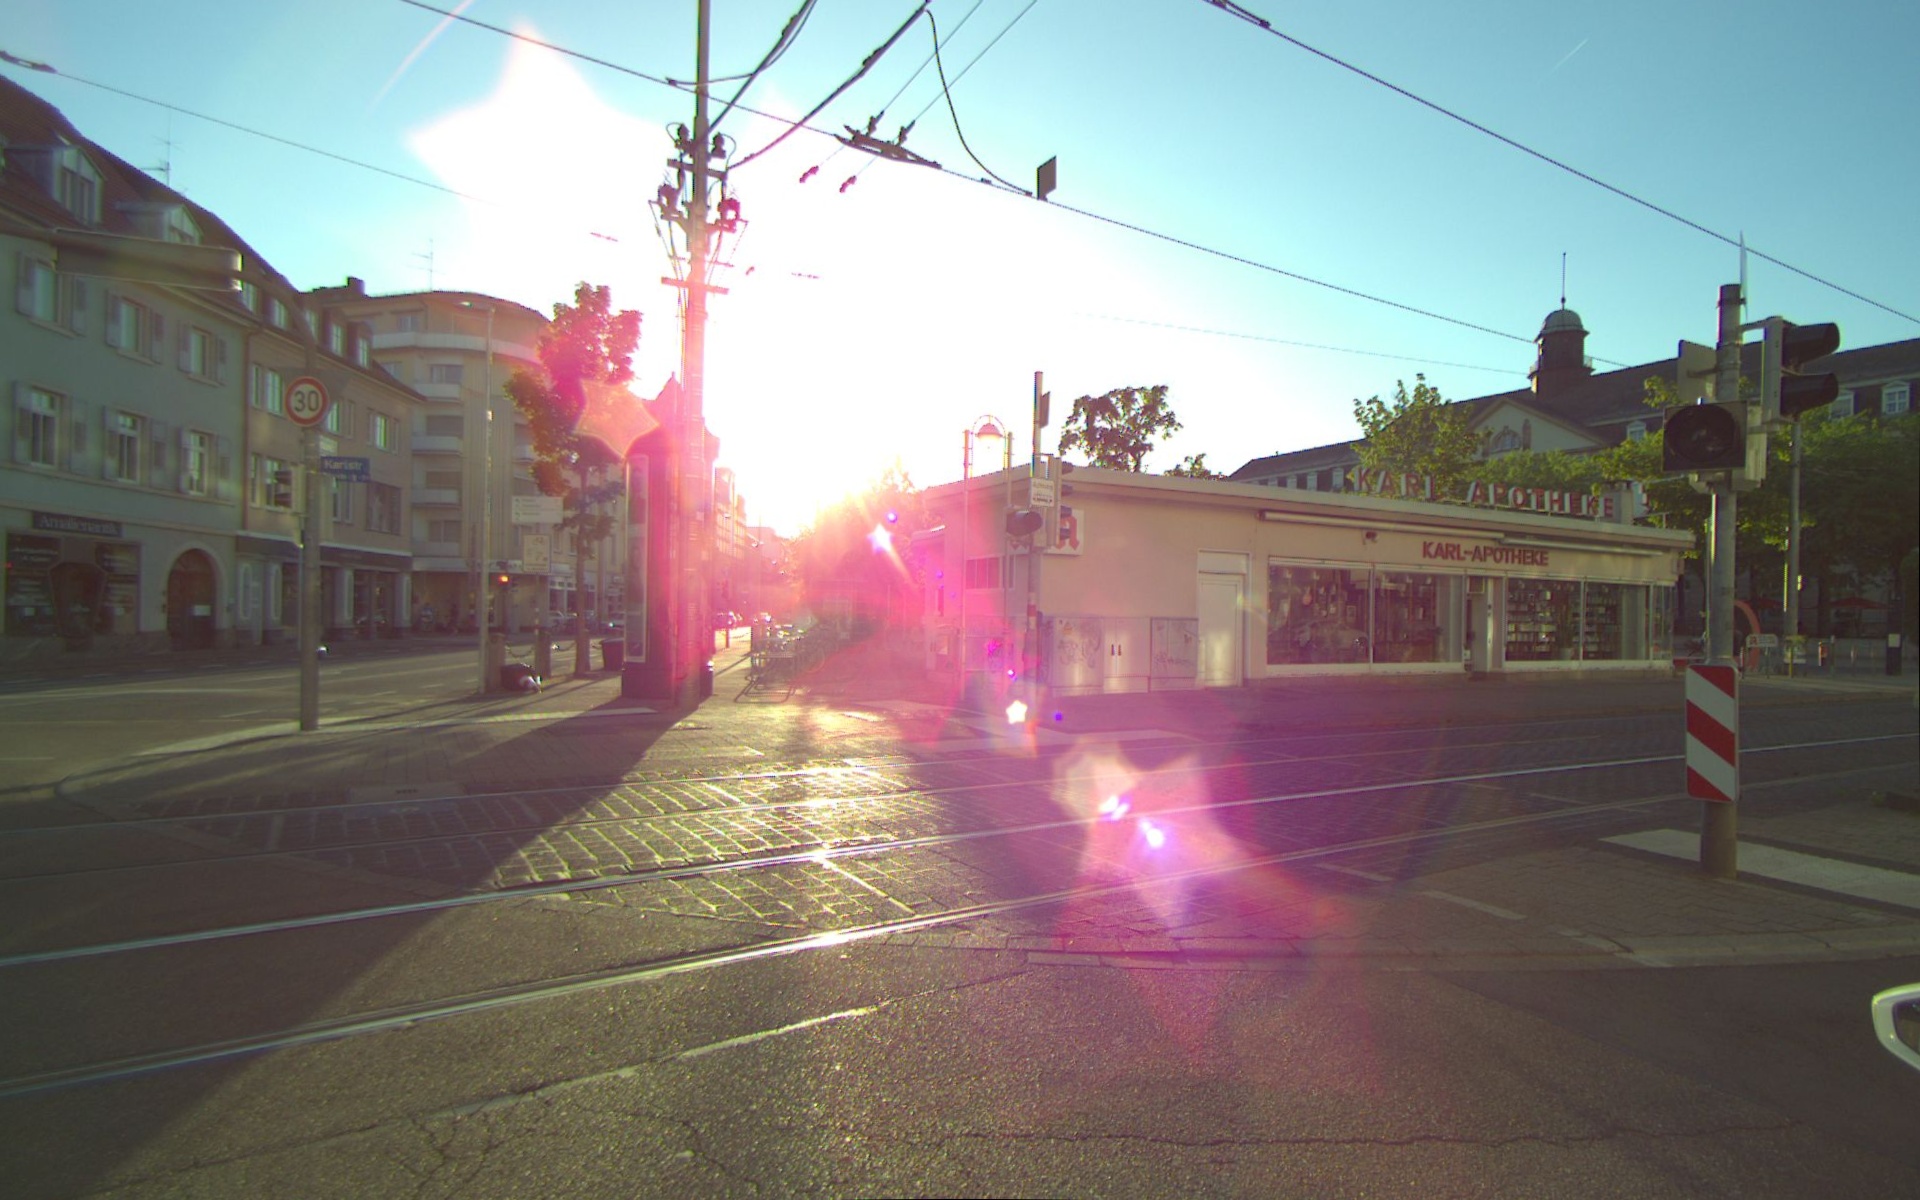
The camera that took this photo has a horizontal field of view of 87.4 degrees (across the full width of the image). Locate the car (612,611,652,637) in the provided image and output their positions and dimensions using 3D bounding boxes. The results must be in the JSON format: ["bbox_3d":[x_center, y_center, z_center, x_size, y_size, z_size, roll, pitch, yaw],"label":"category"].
[{"bbox_3d":[-19.604,1.470,60.136,1.520,1.487,3.350,1,-2,-5],"label":"car"}]

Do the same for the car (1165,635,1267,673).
[{"bbox_3d":[12.011,2.528,47.102,4.623,1.586,1.791,3,-2,-28],"label":"car"}]

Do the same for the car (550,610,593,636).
[{"bbox_3d":[-23.368,1.394,60.443,1.520,1.503,3.350,0,-1,-5],"label":"car"}]

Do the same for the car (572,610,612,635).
[{"bbox_3d":[-23.454,1.460,64.088,1.520,1.488,3.350,1,-2,-5],"label":"car"}]

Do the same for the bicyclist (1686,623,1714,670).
[{"bbox_3d":[27.514,1.735,37.355,0.691,1.690,0.628,2,-2,21],"label":"bicyclist"}]

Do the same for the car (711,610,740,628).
[{"bbox_3d":[-22.527,1.849,96.479,1.961,1.706,3.999,1,-1,-2],"label":"car"}]

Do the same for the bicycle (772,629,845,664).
[{"bbox_3d":[-4.510,1.377,29.943,2.043,0.995,0.560,1,-2,4],"label":"bicycle"}]

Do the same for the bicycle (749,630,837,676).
[{"bbox_3d":[-3.993,1.257,24.101,1.986,1.058,0.560,1,-2,4],"label":"bicycle"}]

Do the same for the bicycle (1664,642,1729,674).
[{"bbox_3d":[27.407,2.148,37.404,1.899,1.126,0.460,1,-2,22],"label":"bicycle"}]

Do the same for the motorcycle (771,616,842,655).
[{"bbox_3d":[-5.011,1.160,32.944,2.197,1.217,0.720,1,-1,1],"label":"motorcycle"}]

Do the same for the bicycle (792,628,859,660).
[{"bbox_3d":[-4.196,1.375,31.439,2.004,0.989,0.560,1,-2,4],"label":"bicycle"}]

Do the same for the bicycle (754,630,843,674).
[{"bbox_3d":[-4.052,1.293,25.256,2.110,1.057,0.560,1,-2,4],"label":"bicycle"}]

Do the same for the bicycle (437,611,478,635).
[{"bbox_3d":[-27.587,1.266,55.154,2.081,1.219,0.501,2,-2,12],"label":"bicycle"}]

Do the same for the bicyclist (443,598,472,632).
[{"bbox_3d":[-27.623,0.809,55.197,1.110,1.814,0.765,2,-2,12],"label":"bicyclist"}]
